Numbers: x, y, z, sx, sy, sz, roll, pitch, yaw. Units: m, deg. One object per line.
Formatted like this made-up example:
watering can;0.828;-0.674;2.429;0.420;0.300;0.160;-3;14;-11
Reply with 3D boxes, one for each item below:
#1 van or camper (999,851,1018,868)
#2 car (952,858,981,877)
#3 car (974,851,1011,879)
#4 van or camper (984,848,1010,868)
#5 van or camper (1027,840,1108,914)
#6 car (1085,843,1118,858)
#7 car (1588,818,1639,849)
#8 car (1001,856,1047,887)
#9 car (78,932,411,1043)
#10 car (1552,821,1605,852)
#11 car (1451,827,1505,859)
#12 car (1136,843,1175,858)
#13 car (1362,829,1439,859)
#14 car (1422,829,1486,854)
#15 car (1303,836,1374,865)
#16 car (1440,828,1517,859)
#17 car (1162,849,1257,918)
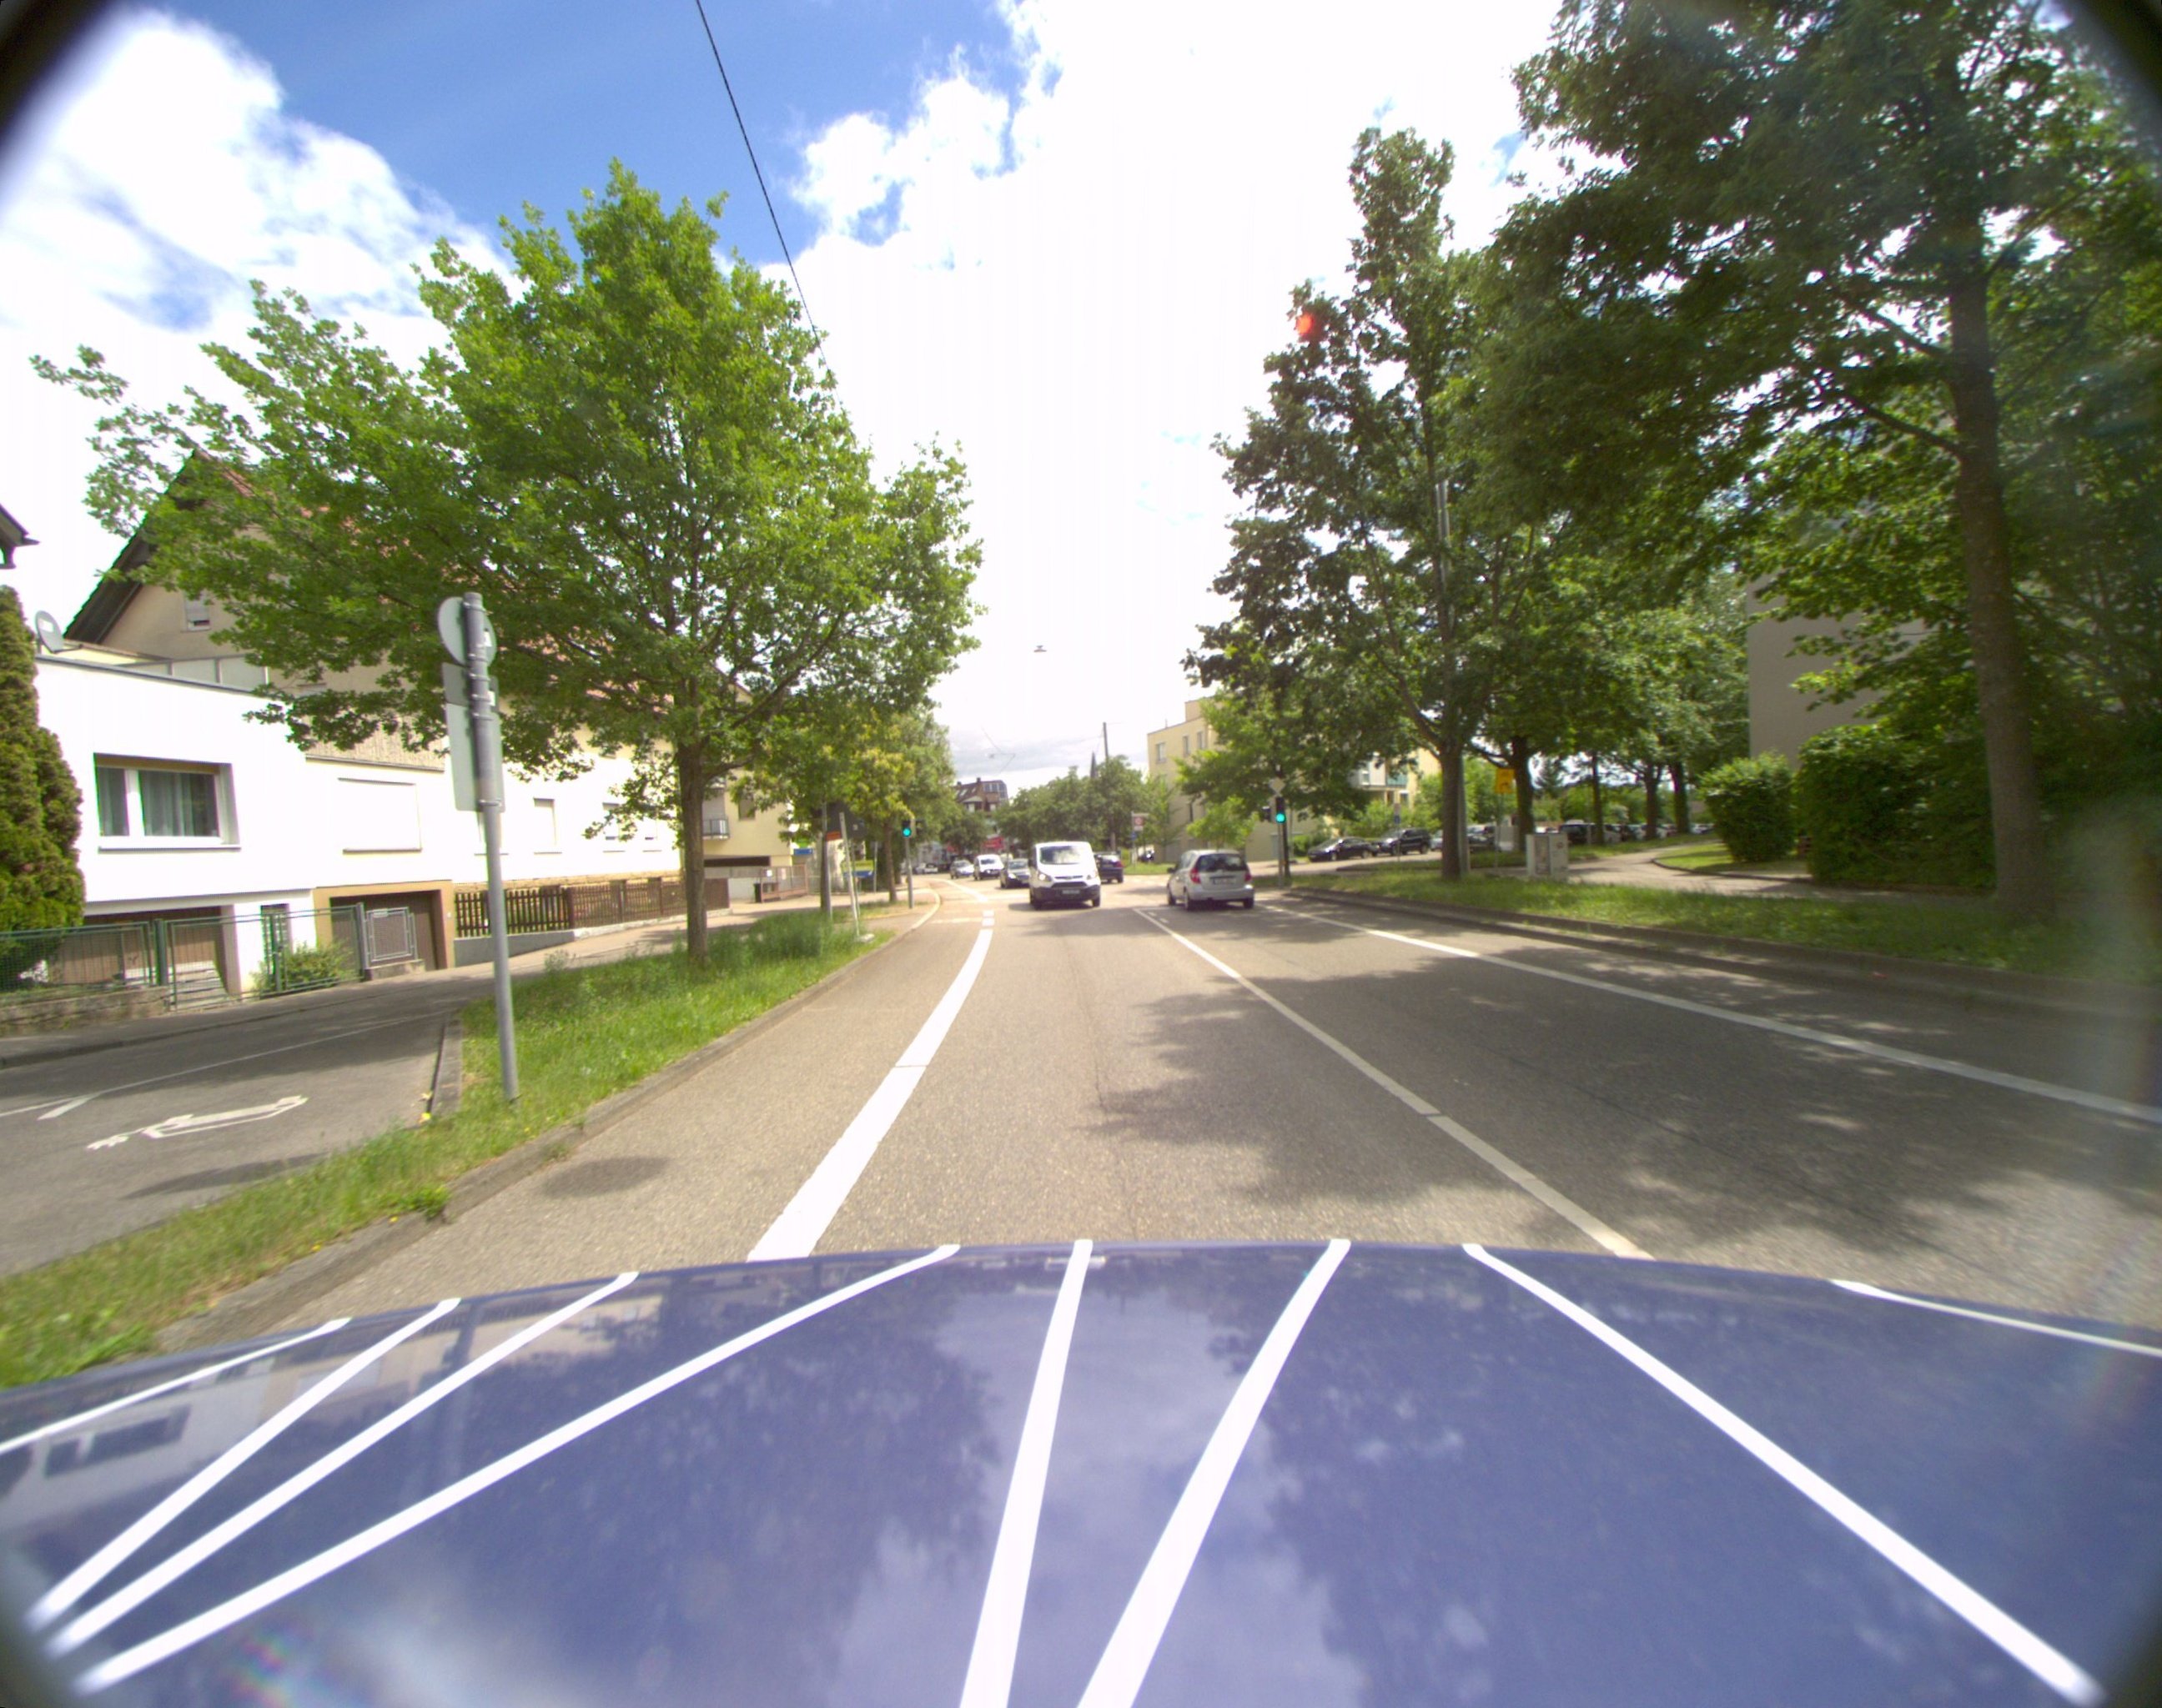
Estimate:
van or camper;-9.705;0.668;101.672;1.795;2.077;3.806;-6;2;-13
car;-10.245;1.158;67.833;1.695;1.478;3.993;-6;2;-18
car;-6.592;0.773;56.173;1.854;1.806;3.994;-6;2;-18
van or camper;-8.183;0.431;73.604;1.867;1.766;4.375;-4;0;-13
van or camper;-0.565;0.653;24.216;2.028;2.002;5.099;-3;0;-6
car;2.696;-0.459;101.669;3.981;1.672;1.715;-4;1;-18
car;36.672;-1.392;52.276;4.005;1.725;1.651;-7;2;-38
car;-2.935;0.893;38.559;1.841;1.382;3.997;-3;-1;-11
car;-14.929;2.316;13.934;1.465;1.118;3.872;-5;2;7
car;32.671;-1.173;49.854;2.121;1.783;4.426;-3;1;43
car;23.809;-0.649;45.507;1.840;1.833;4.008;-2;0;42
car;7.841;-0.349;79.803;4.008;1.411;1.789;-1;-2;-44
car;21.187;-0.689;50.383;4.797;1.594;2.097;-5;3;-27
car;26.117;-0.879;53.188;4.004;1.325;1.970;-7;2;-27
car;16.302;-0.199;48.054;4.156;1.390;1.734;-7;2;-27
car;21.270;-0.581;40.642;4.005;1.445;1.692;-3;3;-28
car;3.437;0.733;21.054;1.713;1.608;3.999;-4;1;-3
